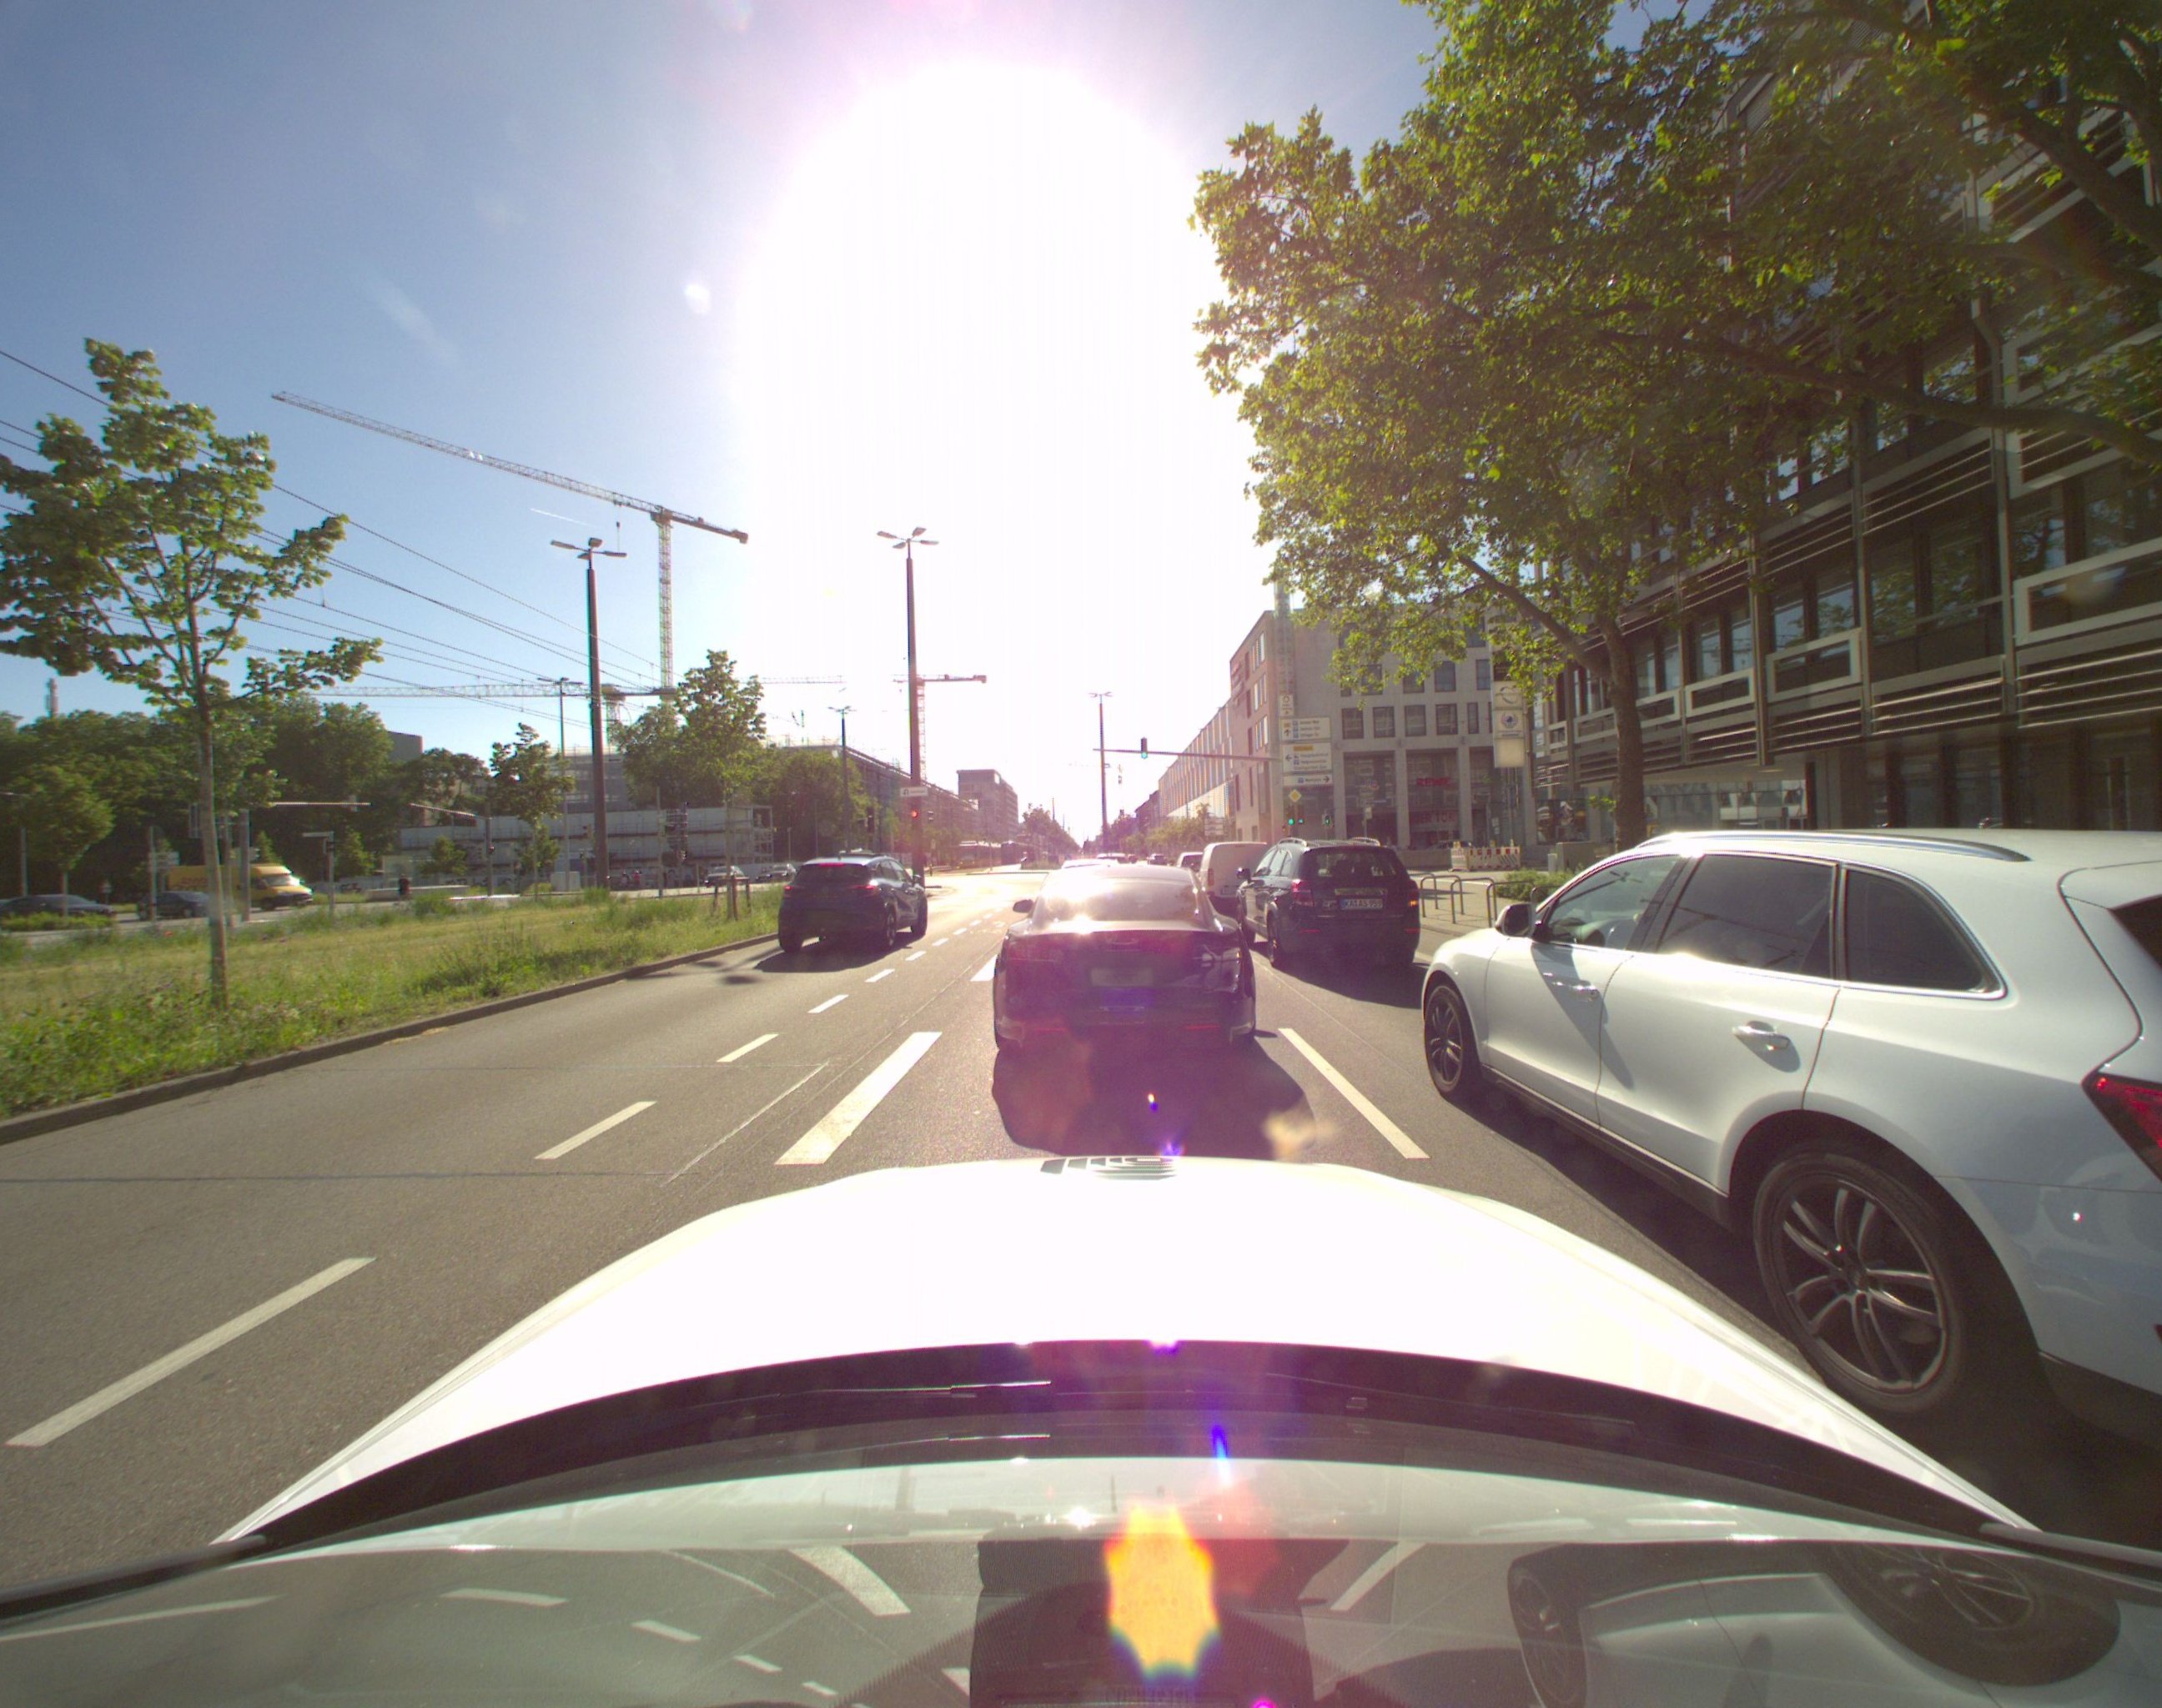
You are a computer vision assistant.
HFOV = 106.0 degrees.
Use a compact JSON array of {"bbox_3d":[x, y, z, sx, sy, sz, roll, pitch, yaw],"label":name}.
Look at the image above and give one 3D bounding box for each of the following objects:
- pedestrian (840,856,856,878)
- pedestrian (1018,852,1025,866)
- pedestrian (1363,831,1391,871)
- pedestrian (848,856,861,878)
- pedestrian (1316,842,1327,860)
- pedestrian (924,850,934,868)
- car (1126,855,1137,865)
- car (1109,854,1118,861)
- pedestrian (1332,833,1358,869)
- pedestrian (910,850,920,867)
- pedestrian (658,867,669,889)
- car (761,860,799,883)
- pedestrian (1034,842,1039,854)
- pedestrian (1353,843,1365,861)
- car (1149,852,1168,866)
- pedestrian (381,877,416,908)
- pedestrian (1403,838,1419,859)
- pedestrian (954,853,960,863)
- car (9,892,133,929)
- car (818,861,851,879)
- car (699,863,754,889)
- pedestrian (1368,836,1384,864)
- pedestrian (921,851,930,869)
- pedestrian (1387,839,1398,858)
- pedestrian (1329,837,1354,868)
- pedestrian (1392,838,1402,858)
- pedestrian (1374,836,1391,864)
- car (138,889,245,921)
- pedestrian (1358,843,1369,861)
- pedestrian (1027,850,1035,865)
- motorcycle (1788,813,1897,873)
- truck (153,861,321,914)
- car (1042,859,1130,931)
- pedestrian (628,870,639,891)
[{"bbox_3d":[-19.503,1.095,68.239,0.792,1.823,0.887,-2,0,33],"label":"pedestrian"},{"bbox_3d":[-7.648,0.599,105.142,0.872,1.775,1.188,0,1,-2],"label":"pedestrian"},{"bbox_3d":[15.240,-0.154,41.957,0.945,2.013,1.077,-2,0,-6],"label":"pedestrian"},{"bbox_3d":[-19.645,1.121,70.514,0.797,1.823,0.976,-2,0,-2],"label":"pedestrian"},{"bbox_3d":[21.417,-0.282,72.565,0.745,1.607,0.556,-2,1,0],"label":"pedestrian"},{"bbox_3d":[-15.739,0.519,84.435,0.797,1.823,0.976,-2,0,-2],"label":"pedestrian"},{"bbox_3d":[9.134,1.073,147.616,1.927,1.542,4.002,-2,0,2],"label":"car"},{"bbox_3d":[7.643,0.903,190.822,1.927,1.542,4.002,-2,0,2],"label":"car"},{"bbox_3d":[14.892,-0.173,45.906,0.946,2.013,1.076,-2,0,-10],"label":"pedestrian"},{"bbox_3d":[-17.380,0.459,85.181,0.797,1.823,0.976,-2,0,-2],"label":"pedestrian"},{"bbox_3d":[-35.200,2.050,68.650,0.704,1.823,0.589,-2,0,-36],"label":"pedestrian"},{"bbox_3d":[-27.681,1.618,75.025,1.863,1.955,4.001,-2,0,1],"label":"car"},{"bbox_3d":[-6.696,-0.870,122.941,0.669,1.811,1.075,-2,0,0],"label":"pedestrian"},{"bbox_3d":[25.601,-0.179,74.966,0.559,1.607,0.742,-3,1,-35],"label":"pedestrian"},{"bbox_3d":[8.897,0.590,93.958,1.927,1.542,4.002,-2,0,2],"label":"car"},{"bbox_3d":[-39.206,2.201,46.798,1.185,1.685,0.950,-1,1,7],"label":"pedestrian"},{"bbox_3d":[27.310,-0.485,67.378,0.974,1.684,0.860,-2,0,-1],"label":"pedestrian"},{"bbox_3d":[-15.786,0.517,103.358,0.669,1.226,0.506,0,-1,-2],"label":"pedestrian"},{"bbox_3d":[-49.162,2.725,39.681,3.966,1.539,1.907,-2,0,6],"label":"car"},{"bbox_3d":[-24.260,1.557,80.299,1.939,1.707,4.366,-2,0,0],"label":"car"},{"bbox_3d":[-25.098,1.534,57.776,1.818,1.689,4.096,-2,0,4],"label":"car"},{"bbox_3d":[17.546,-0.257,48.428,0.659,1.612,0.525,-4,0,-8],"label":"pedestrian"},{"bbox_3d":[-16.685,0.628,87.460,0.797,1.823,0.976,-2,0,-2],"label":"pedestrian"},{"bbox_3d":[28.772,-0.483,75.178,0.559,1.762,0.643,-3,1,-35],"label":"pedestrian"},{"bbox_3d":[16.007,-0.078,50.065,0.963,1.801,1.523,-4,0,1],"label":"pedestrian"},{"bbox_3d":[29.321,-0.549,75.606,0.559,1.762,0.643,-3,1,-35],"label":"pedestrian"},{"bbox_3d":[17.677,-0.249,47.796,0.659,1.612,0.525,-4,0,-8],"label":"pedestrian"},{"bbox_3d":[-48.462,2.762,44.424,3.966,1.539,1.907,-2,0,6],"label":"car"},{"bbox_3d":[26.133,-0.180,75.364,0.559,1.607,0.742,-3,1,-36],"label":"pedestrian"},{"bbox_3d":[-5.756,0.424,93.550,0.739,1.628,0.862,-2,0,2],"label":"pedestrian"},{"bbox_3d":[19.523,-0.270,20.958,0.820,1.441,2.123,-2,0,2],"label":"motorcycle"},{"bbox_3d":[-50.041,1.976,48.384,7.967,2.792,2.467,-2,0,6],"label":"truck"},{"bbox_3d":[0.165,0.814,18.032,1.710,1.320,4.002,-2,0,2],"label":"car"},{"bbox_3d":[-38.777,2.307,70.604,0.704,1.823,0.589,-2,0,-36],"label":"pedestrian"}]
